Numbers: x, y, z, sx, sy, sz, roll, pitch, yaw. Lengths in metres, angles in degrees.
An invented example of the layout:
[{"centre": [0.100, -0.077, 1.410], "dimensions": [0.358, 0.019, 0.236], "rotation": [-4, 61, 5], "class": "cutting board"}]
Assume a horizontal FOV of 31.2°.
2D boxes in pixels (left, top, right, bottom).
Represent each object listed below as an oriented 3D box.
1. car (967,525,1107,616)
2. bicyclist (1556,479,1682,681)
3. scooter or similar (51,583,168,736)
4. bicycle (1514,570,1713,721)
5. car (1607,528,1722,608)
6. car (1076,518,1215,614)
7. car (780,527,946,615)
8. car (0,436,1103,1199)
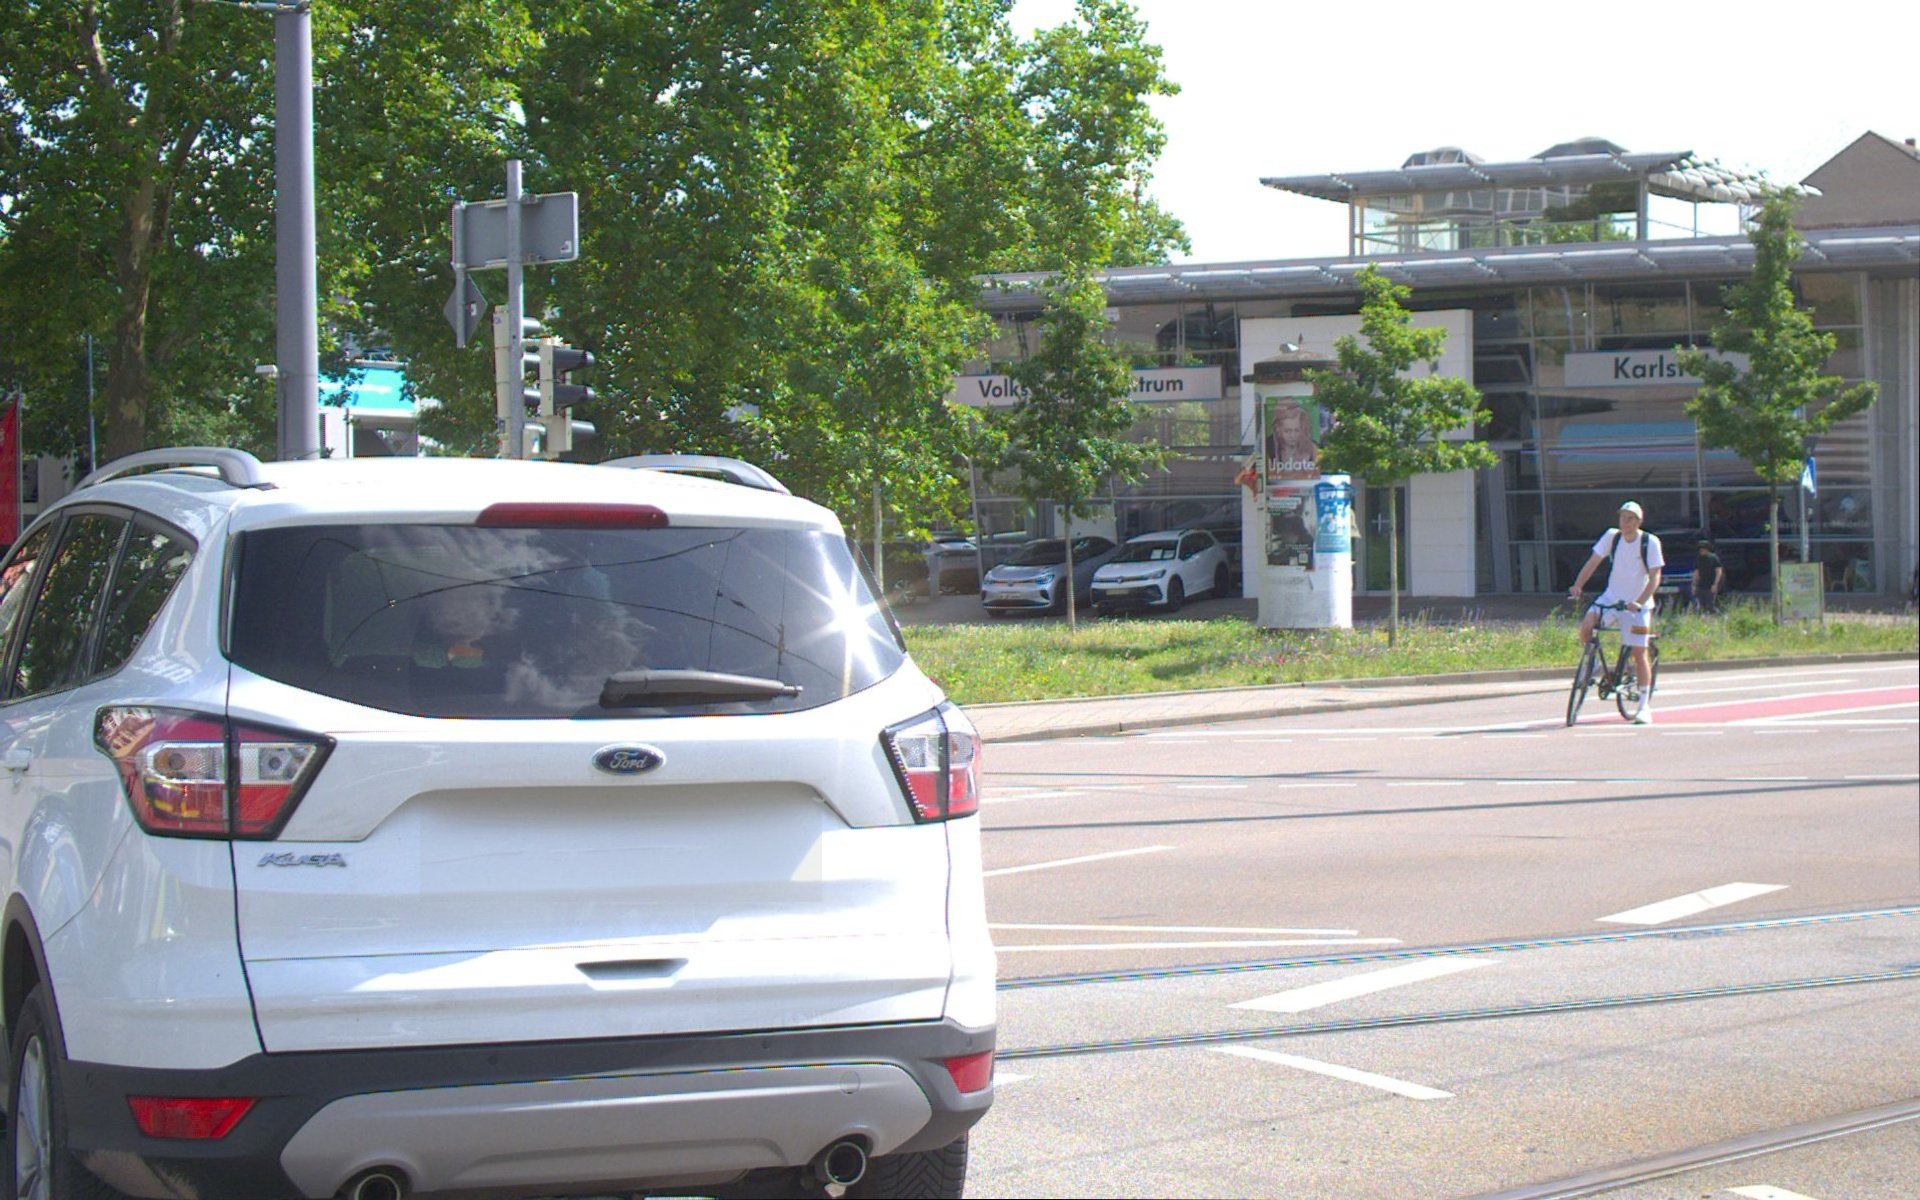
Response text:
[{"centre": [1.774, -0.648, 77.435], "dimensions": [1.969, 1.930, 4.227], "rotation": [-2, 0, 18], "class": "car"}, {"centre": [5.564, -0.172, 29.025], "dimensions": [0.761, 1.677, 0.759], "rotation": [-1, 1, 37], "class": "bicyclist"}, {"centre": [-6.927, 0.474, 27.975], "dimensions": [0.398, 1.189, 1.174], "rotation": [0, 2, -42], "class": "scooter or similar"}, {"centre": [5.525, 0.366, 28.984], "dimensions": [0.761, 1.188, 2.146], "rotation": [-1, 1, 37], "class": "bicycle"}, {"centre": [14.390, -0.639, 70.090], "dimensions": [1.820, 1.528, 3.913], "rotation": [-2, 0, 18], "class": "car"}, {"centre": [4.133, -0.736, 76.169], "dimensions": [1.995, 2.007, 4.227], "rotation": [-2, 0, 18], "class": "car"}, {"centre": [-2.217, -0.663, 80.029], "dimensions": [1.969, 1.930, 5.063], "rotation": [-2, 0, 22], "class": "car"}, {"centre": [-1.363, 0.529, 7.641], "dimensions": [1.827, 1.658, 3.956], "rotation": [-1, 1, -23], "class": "car"}]
